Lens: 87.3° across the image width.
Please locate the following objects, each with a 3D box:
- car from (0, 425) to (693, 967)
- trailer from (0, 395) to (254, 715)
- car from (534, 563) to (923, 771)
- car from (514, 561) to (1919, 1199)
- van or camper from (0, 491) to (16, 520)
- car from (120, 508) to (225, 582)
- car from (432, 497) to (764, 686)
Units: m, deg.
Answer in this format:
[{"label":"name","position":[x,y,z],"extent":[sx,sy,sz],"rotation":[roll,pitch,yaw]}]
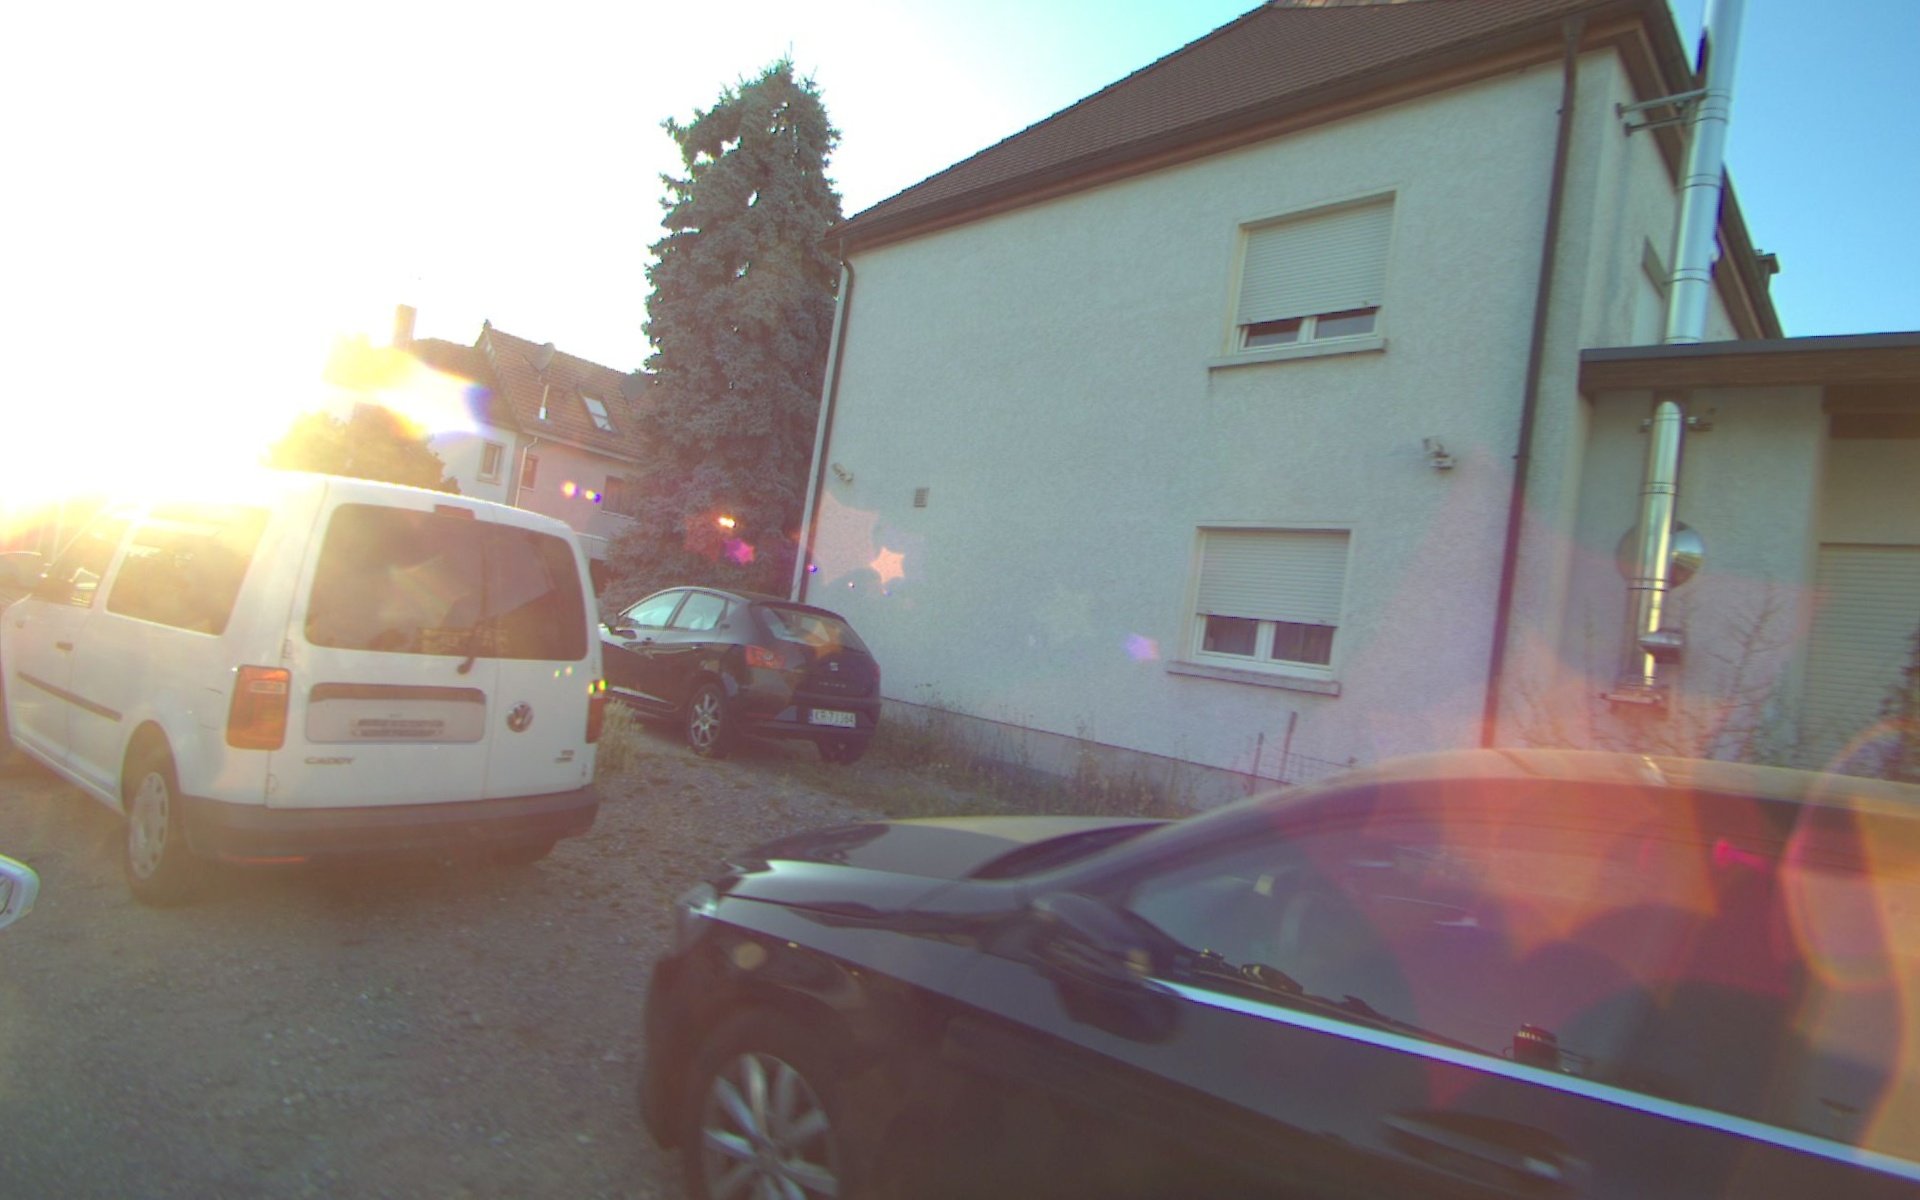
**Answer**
[{"label":"car","position":[-3.665,0.211,5.403],"extent":[4.339,1.852,1.773],"rotation":[7,-2,36]},{"label":"trailer","position":[-8.708,-0.533,8.929],"extent":[5.138,2.237,2.068],"rotation":[7,-2,34]},{"label":"car","position":[-2.355,0.565,9.673],"extent":[3.852,1.535,1.634],"rotation":[4,-4,43]},{"label":"car","position":[1.056,0.949,2.055],"extent":[4.025,1.536,1.706],"rotation":[7,-2,37]},{"label":"van or camper","position":[-90.921,-9.178,92.475],"extent":[5.421,2.510,1.761],"rotation":[12,-3,-31]},{"label":"car","position":[-19.916,-1.414,25.399],"extent":[3.593,1.460,1.526],"rotation":[6,-2,45]},{"label":"car","position":[-6.994,-0.066,19.978],"extent":[5.555,2.722,2.027],"rotation":[12,-2,-44]}]
